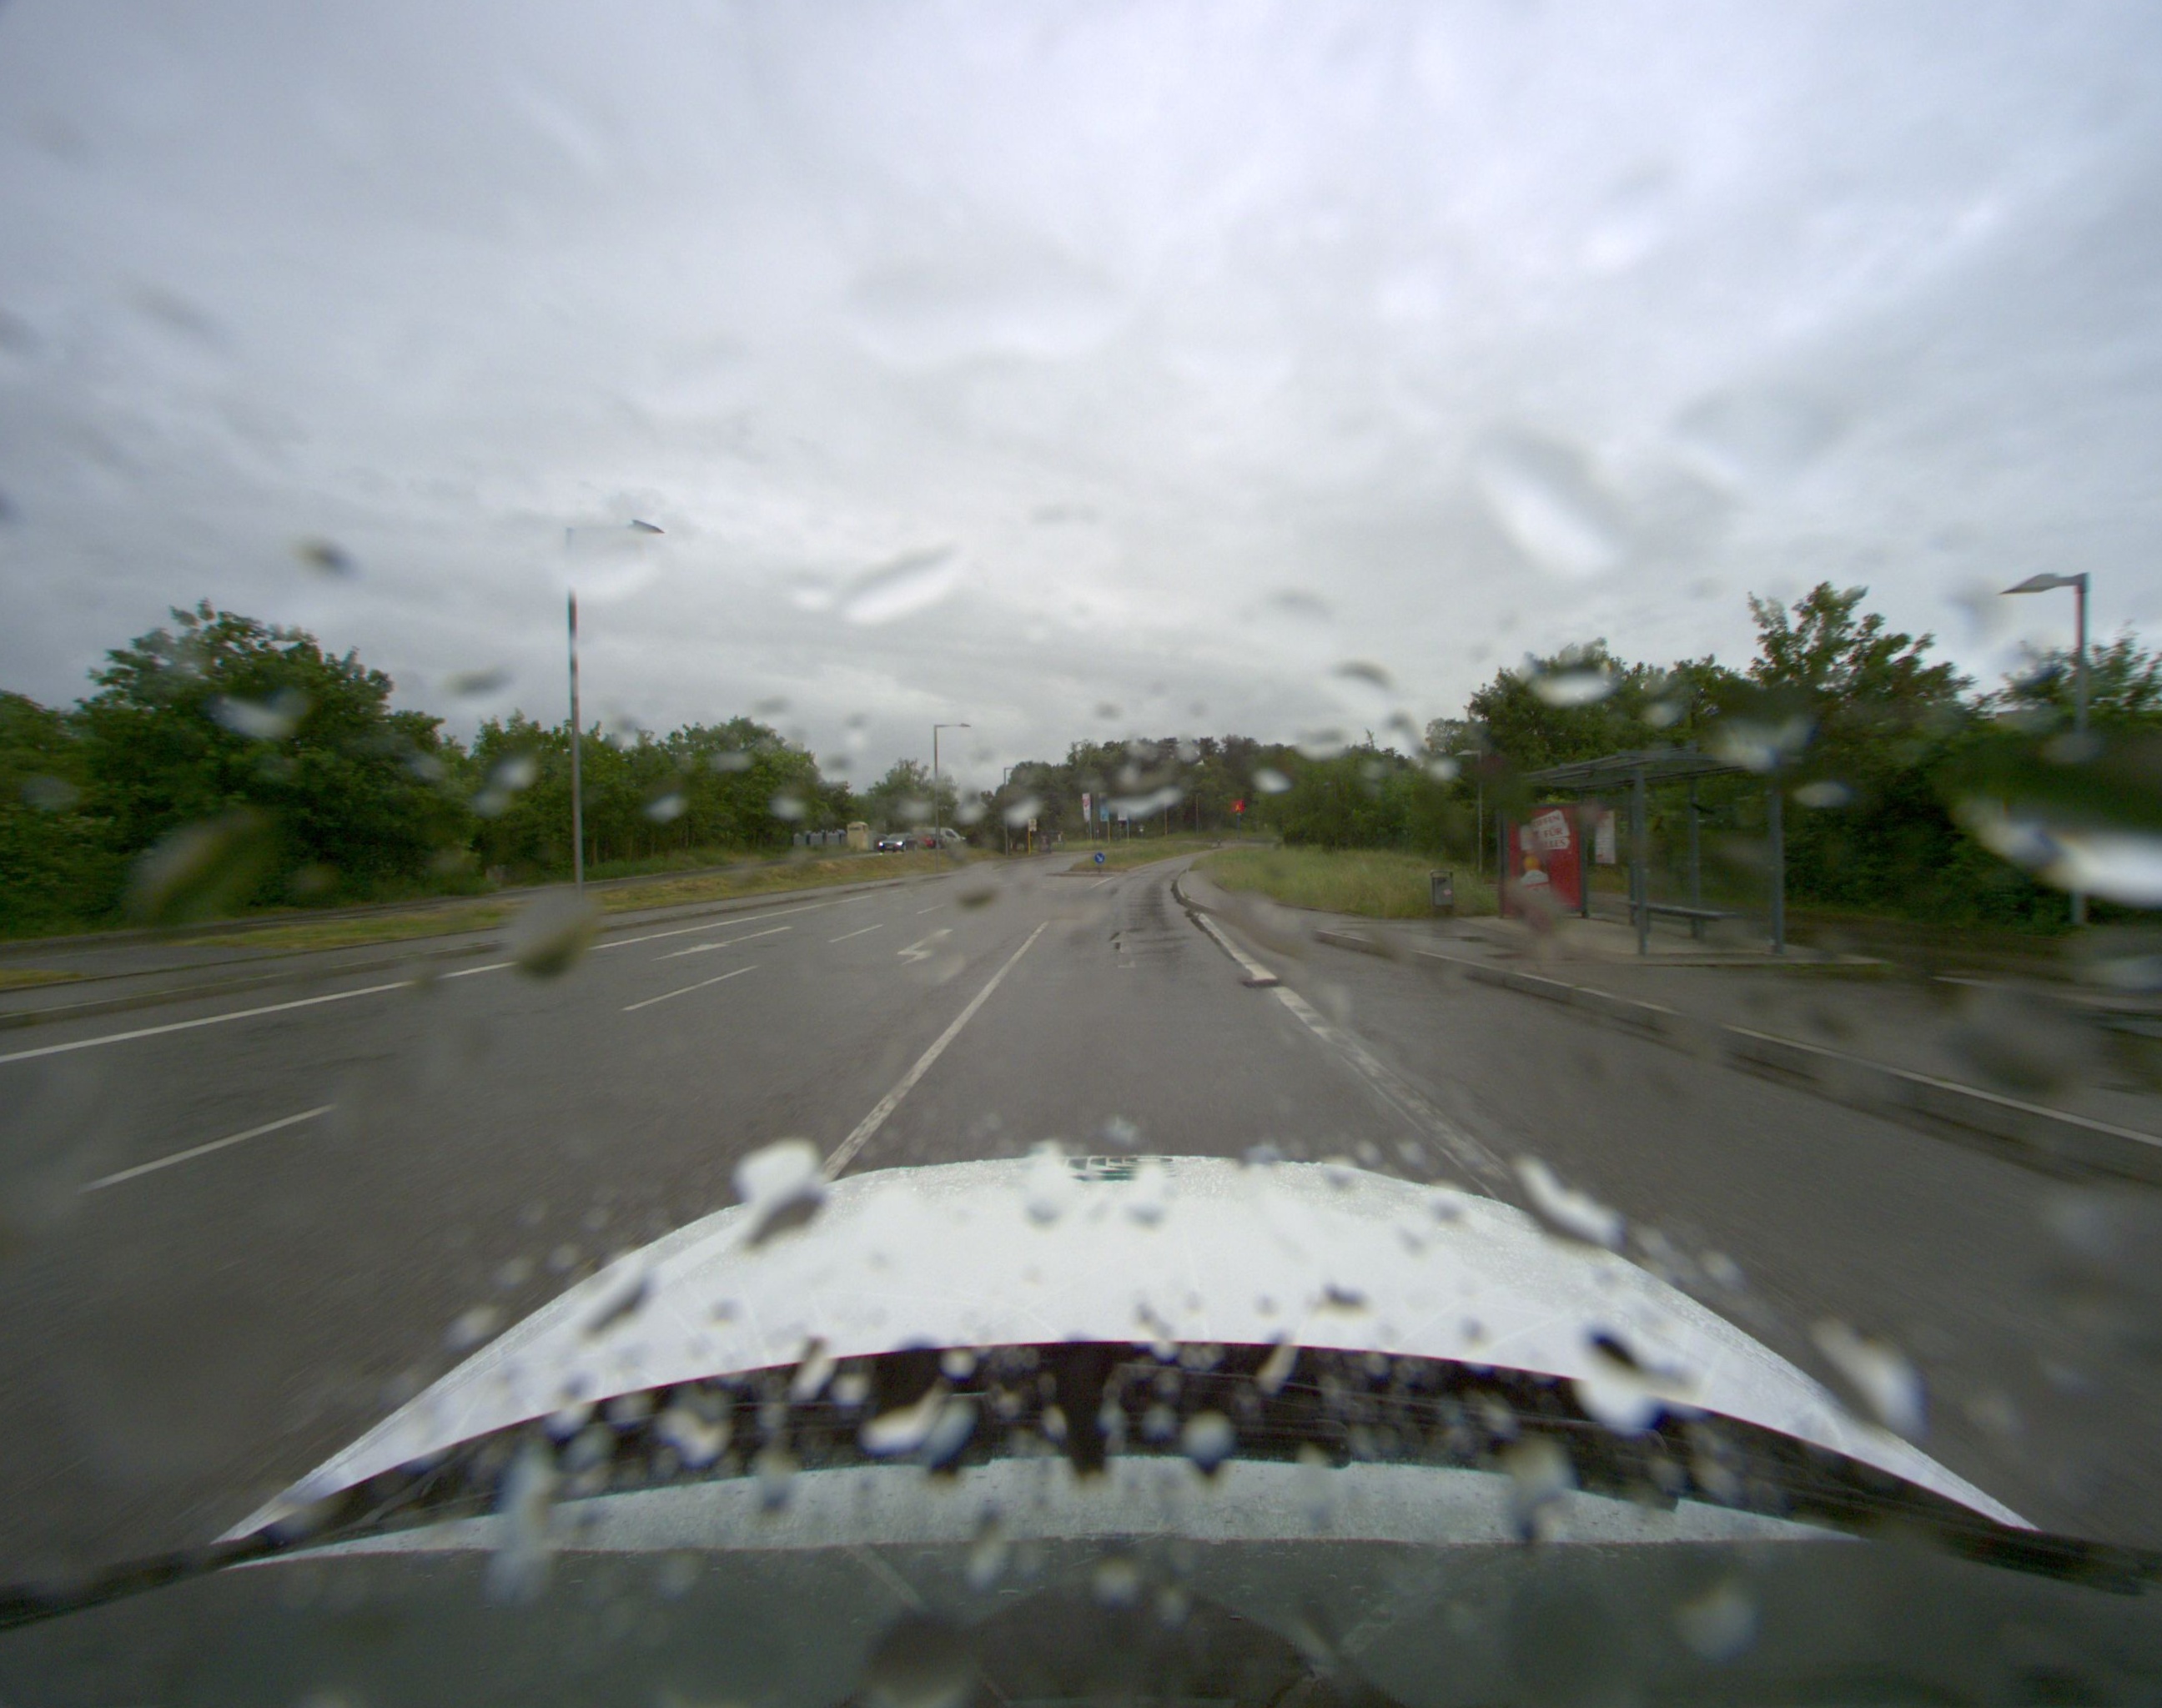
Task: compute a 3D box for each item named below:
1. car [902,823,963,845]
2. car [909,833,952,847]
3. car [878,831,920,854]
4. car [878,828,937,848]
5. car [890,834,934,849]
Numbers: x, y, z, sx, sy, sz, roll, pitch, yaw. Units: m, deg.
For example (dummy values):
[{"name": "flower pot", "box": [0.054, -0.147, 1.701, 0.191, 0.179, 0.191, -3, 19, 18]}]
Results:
[{"name": "car", "box": [-16.958, -2.305, 93.453, 6.528, 2.397, 2.141, 0, 0, 3]}, {"name": "car", "box": [-15.840, -1.482, 85.622, 3.963, 1.364, 1.853, -1, 1, 9]}, {"name": "car", "box": [-13.712, -0.933, 61.668, 1.683, 1.568, 4.551, 2, 3, 6]}, {"name": "car", "box": [-15.427, -1.436, 72.433, 4.681, 1.693, 2.009, 0, 1, 6]}, {"name": "car", "box": [-17.084, -1.291, 82.544, 3.965, 1.469, 1.852, -1, 1, 7]}]
